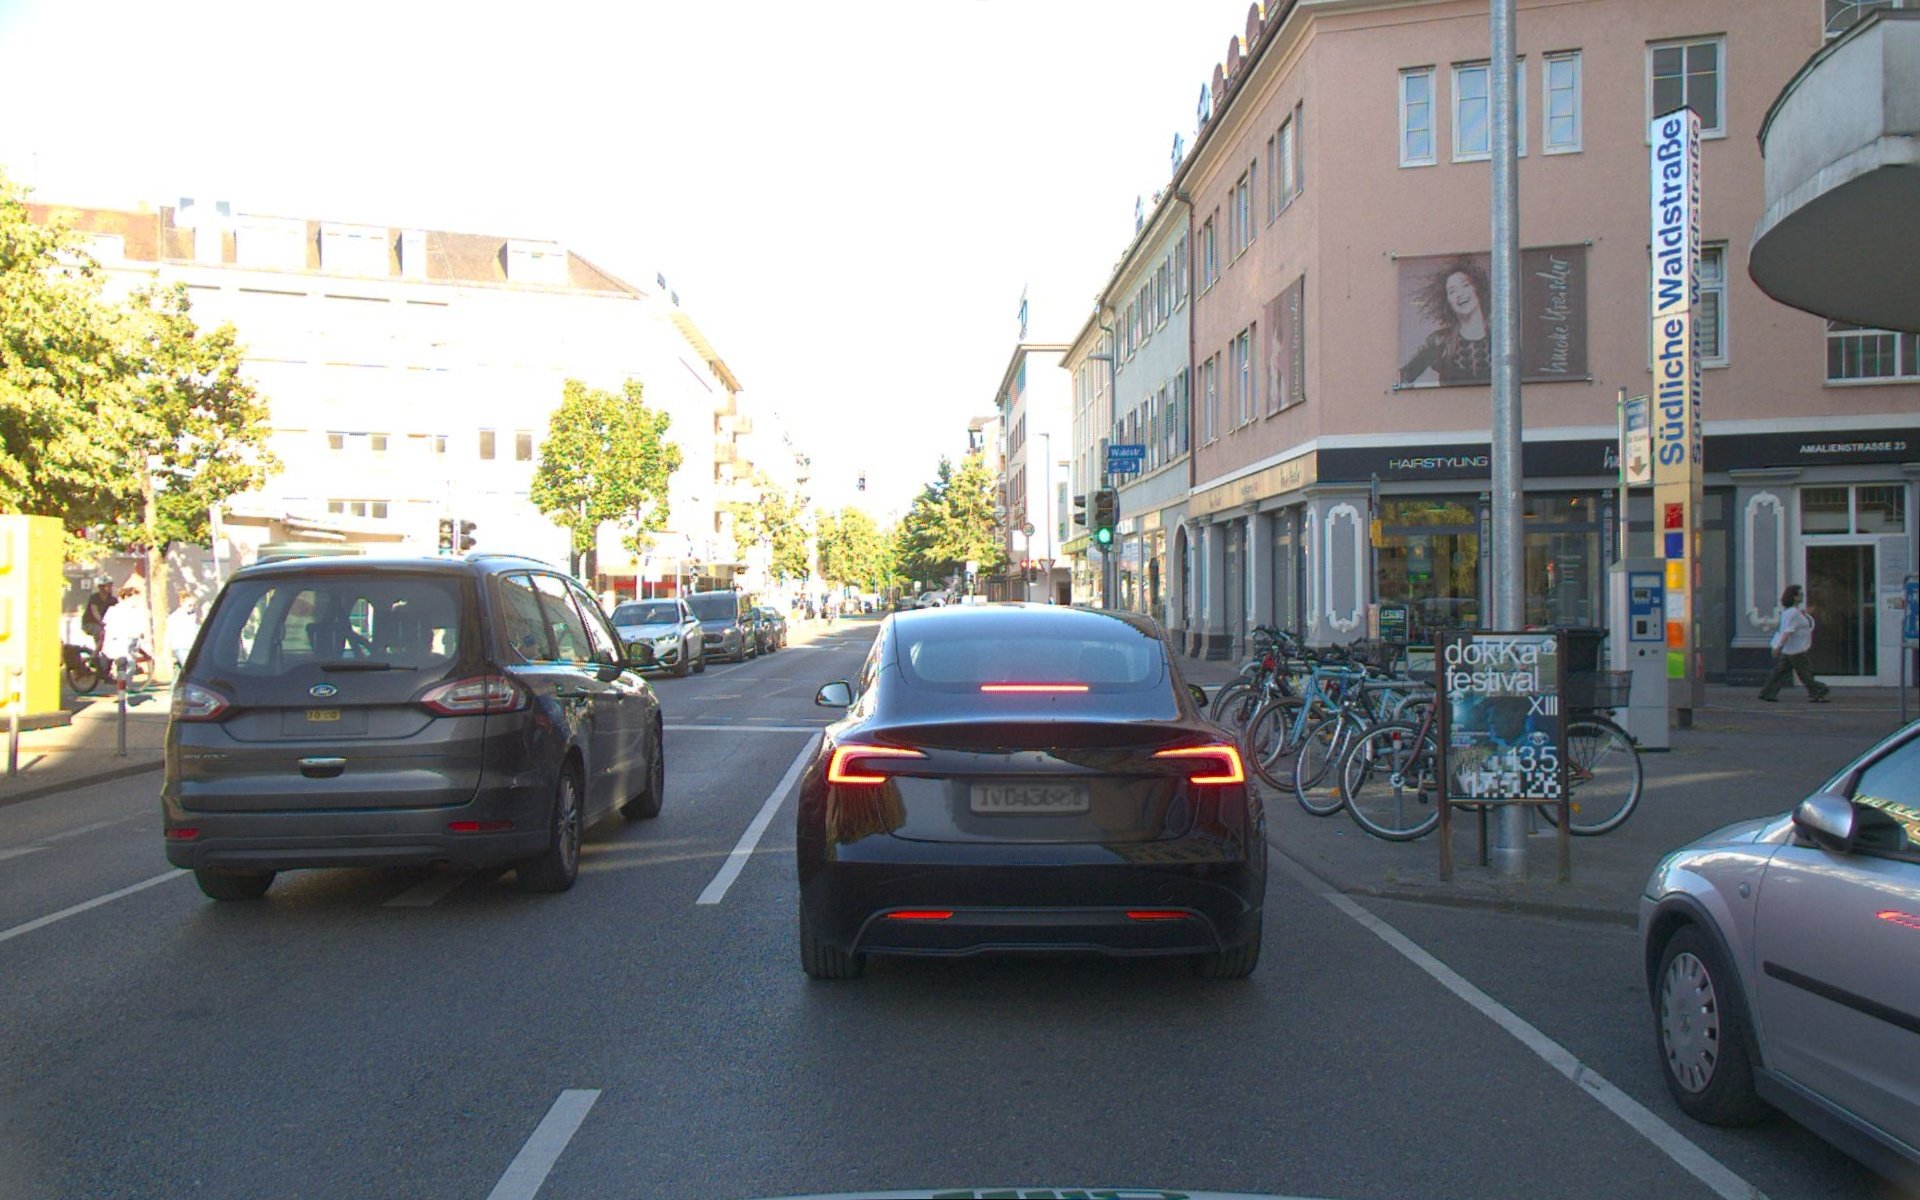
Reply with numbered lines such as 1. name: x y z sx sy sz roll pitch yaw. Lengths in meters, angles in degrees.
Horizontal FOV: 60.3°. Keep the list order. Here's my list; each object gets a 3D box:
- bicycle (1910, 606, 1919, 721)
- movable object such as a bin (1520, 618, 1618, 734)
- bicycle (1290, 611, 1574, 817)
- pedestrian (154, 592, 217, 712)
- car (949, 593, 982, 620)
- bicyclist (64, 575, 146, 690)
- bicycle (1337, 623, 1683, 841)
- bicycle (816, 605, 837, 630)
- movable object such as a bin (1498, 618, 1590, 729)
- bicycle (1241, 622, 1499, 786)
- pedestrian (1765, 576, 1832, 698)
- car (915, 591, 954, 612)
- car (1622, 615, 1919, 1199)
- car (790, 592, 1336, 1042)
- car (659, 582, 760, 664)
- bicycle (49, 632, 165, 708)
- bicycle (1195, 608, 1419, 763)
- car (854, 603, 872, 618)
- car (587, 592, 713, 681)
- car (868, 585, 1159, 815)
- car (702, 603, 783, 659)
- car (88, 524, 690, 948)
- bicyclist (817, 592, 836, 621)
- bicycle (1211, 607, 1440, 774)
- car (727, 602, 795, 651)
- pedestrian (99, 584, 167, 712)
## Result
1. bicycle: 10.331 0.676 16.883 0.645 1.220 2.212 0 0 18
2. movable object such as a bin: 6.047 0.745 16.454 0.737 1.111 0.627 1 0 1
3. bicycle: 3.142 0.746 11.147 1.686 1.290 0.791 -2 0 5
4. pedestrian: -11.094 0.732 23.696 0.673 1.692 0.617 0 0 42
5. car: 0.308 0.393 100.762 1.953 1.657 3.999 0 0 -1
6. bicyclist: -14.261 0.532 27.589 0.930 1.870 0.788 1 0 22
7. bicycle: 3.288 0.781 10.017 1.846 1.214 0.692 -2 1 5
8. bicycle: -7.695 0.999 95.390 1.089 1.368 3.997 0 0 -4
9. movable object such as a bin: 6.026 0.747 17.091 0.718 1.111 0.627 1 0 1
10. bicycle: 3.059 0.768 12.497 1.760 1.144 0.782 -2 0 5
11. pedestrian: 11.078 0.479 21.870 0.732 1.579 0.699 0 0 22
12. car: -2.566 0.159 167.505 3.907 2.049 1.999 0 0 -2
13. car: 2.938 0.775 3.506 1.580 1.406 3.642 1 0 0
14. car: 0.317 0.721 7.486 1.810 1.480 3.999 0 0 -1
15. car: -6.365 0.537 42.492 1.797 1.877 4.674 -4 0 0
16. bicycle: -14.299 1.156 27.725 2.019 1.159 0.538 2 0 23
17. bicycle: 3.055 0.745 14.706 1.822 1.280 0.833 -2 0 5
18. car: -10.980 1.214 186.882 1.954 1.666 3.997 0 0 -4
19. car: -6.287 0.695 33.971 1.771 1.582 4.309 -4 0 -1
20. car: 0.290 0.665 13.195 1.953 1.538 4.173 0 0 -2
21. car: -6.419 0.884 49.313 1.954 1.434 4.671 -4 0 -3
22. car: -2.848 0.575 9.519 1.953 1.803 4.726 -1 0 -2
23. bicyclist: -7.711 0.372 95.484 1.104 1.657 0.964 0 0 -4
24. bicycle: 2.990 0.728 13.675 1.709 1.289 0.781 -2 0 2
25. car: -6.802 0.872 56.899 1.954 1.461 4.671 -4 0 -3
26. pedestrian: -11.535 0.656 23.083 0.537 1.758 0.673 0 0 32
